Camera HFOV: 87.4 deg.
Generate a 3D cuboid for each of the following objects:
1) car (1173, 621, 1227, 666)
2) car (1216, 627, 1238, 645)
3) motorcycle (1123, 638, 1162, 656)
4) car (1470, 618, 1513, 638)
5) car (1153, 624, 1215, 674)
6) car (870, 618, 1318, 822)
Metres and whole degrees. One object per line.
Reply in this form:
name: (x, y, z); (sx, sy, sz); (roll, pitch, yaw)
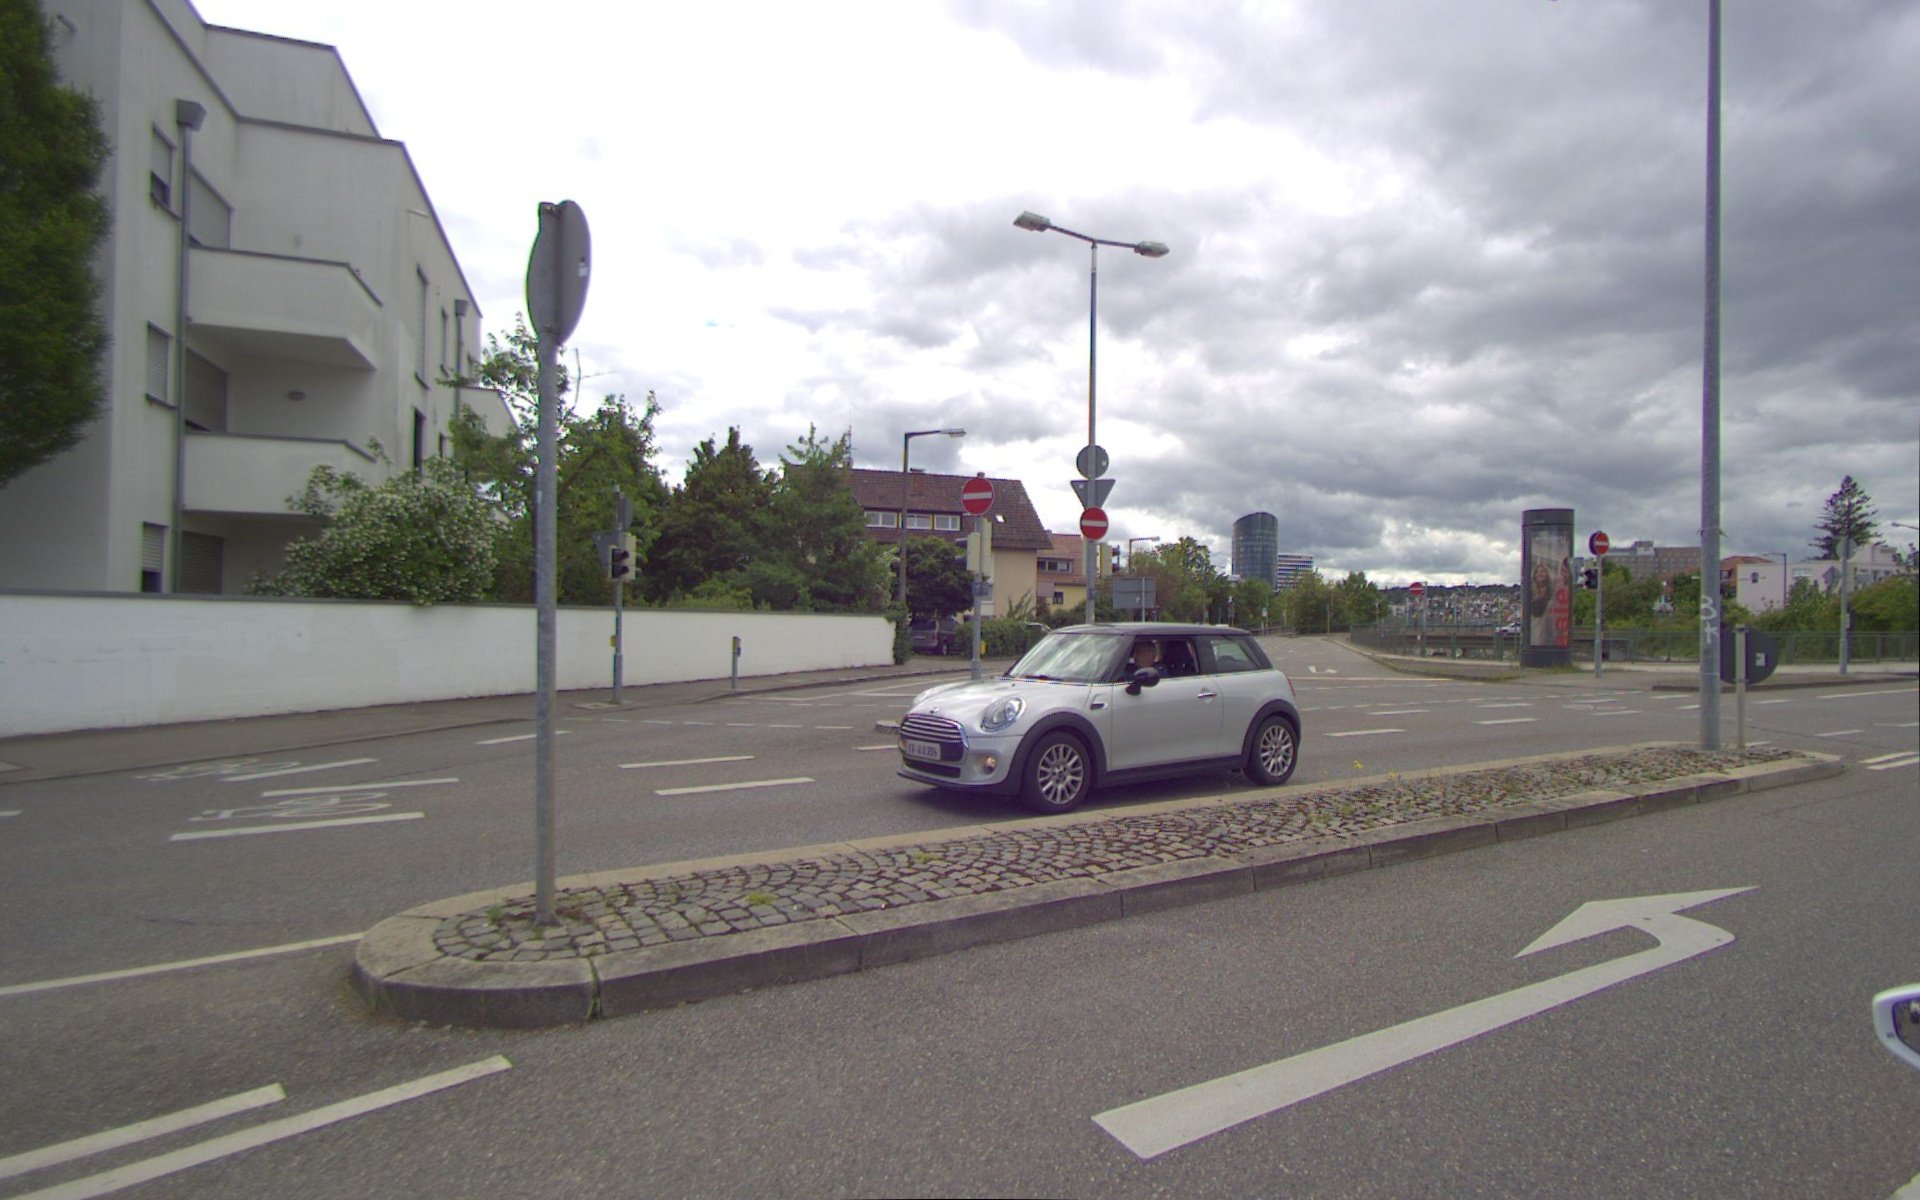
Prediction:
car: (8.910, 1.609, 37.135); (1.615, 1.555, 4.132); (-1, -3, 18)
car: (25.470, 3.411, 95.763); (1.862, 1.628, 4.378); (0, -1, 17)
motorcycle: (10.405, 2.686, 57.223); (2.084, 1.012, 0.702); (1, -5, -12)
car: (55.519, 2.909, 104.982); (3.925, 1.685, 1.734); (3, 2, 27)
car: (6.986, 1.511, 31.304); (1.739, 1.465, 3.706); (-1, -3, 13)
car: (1.258, 0.894, 8.804); (3.779, 1.427, 1.633); (1, -2, -34)
